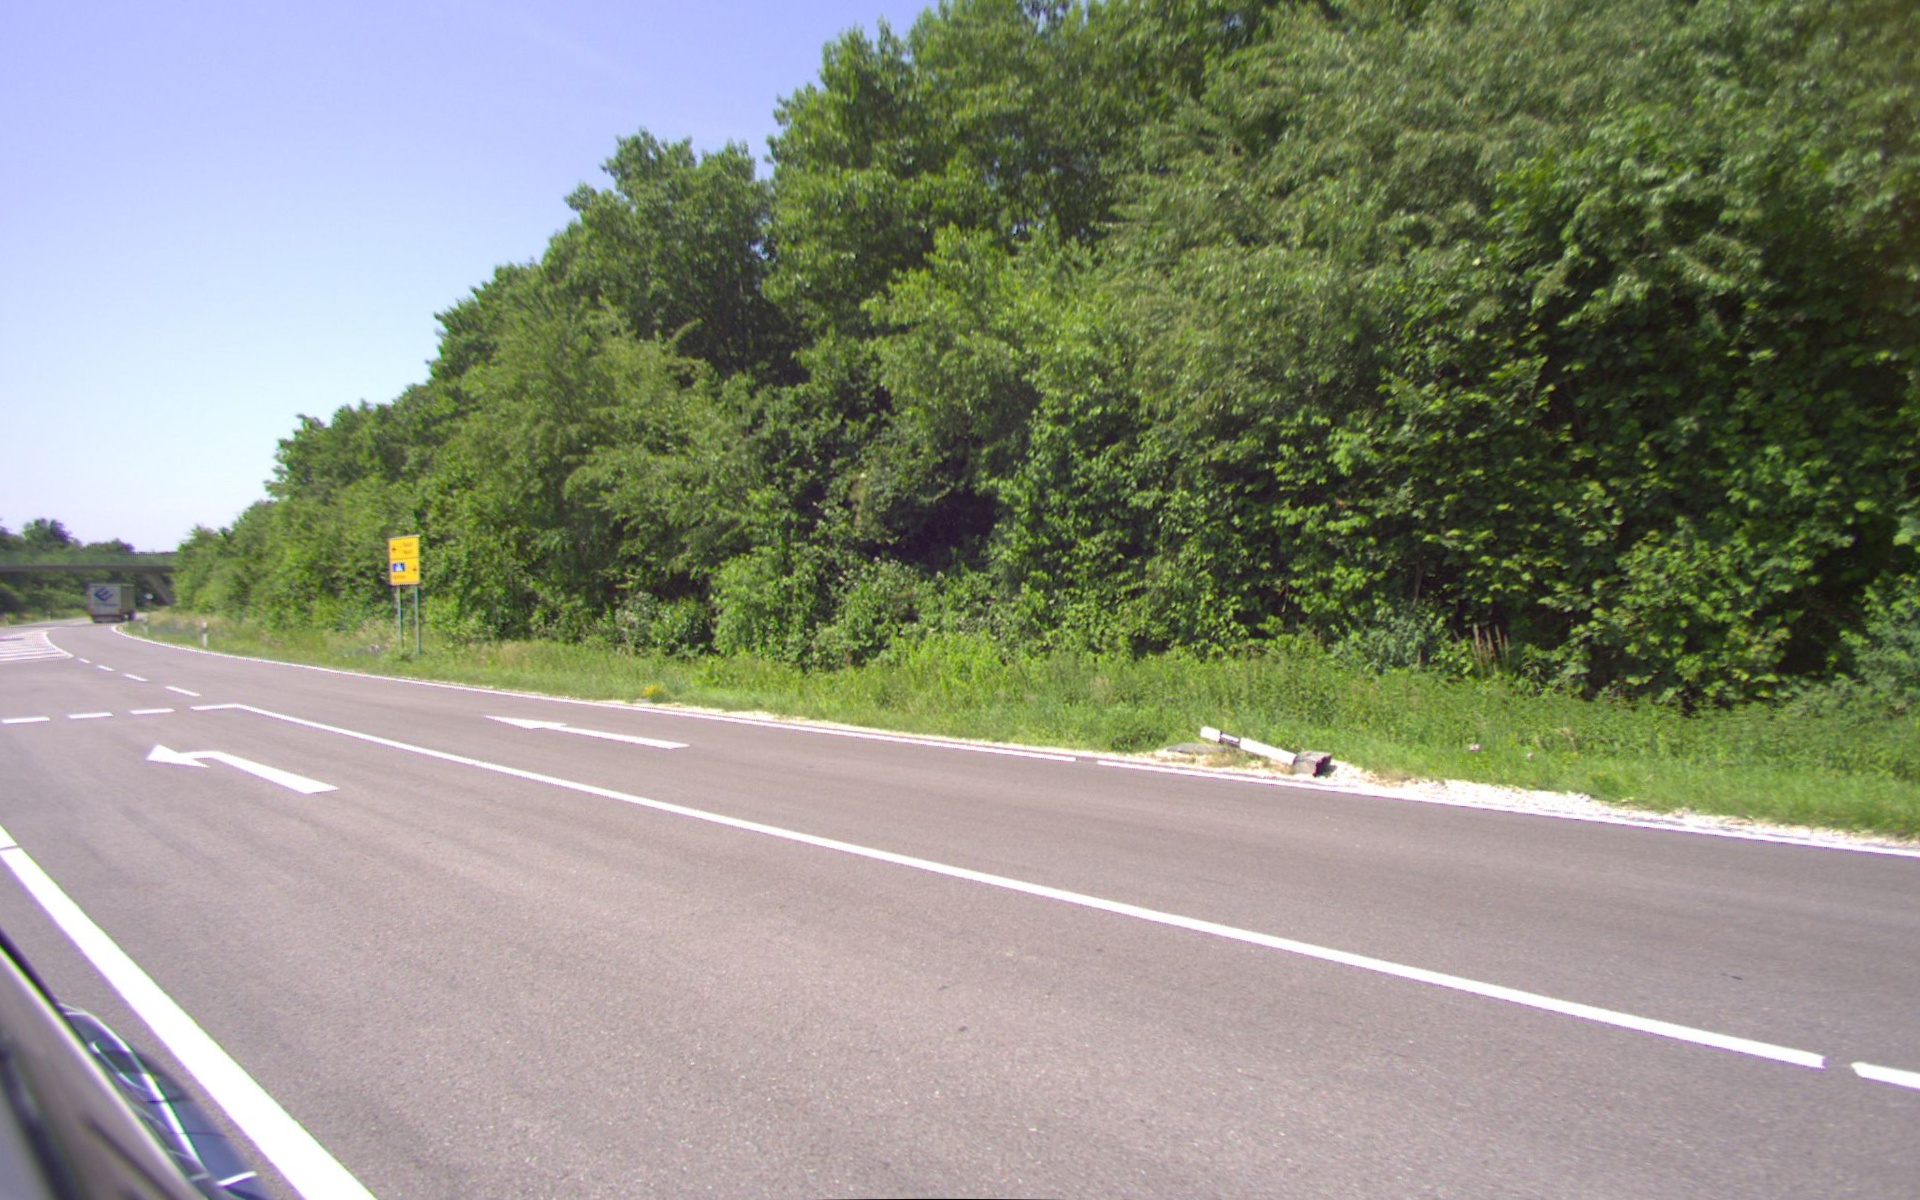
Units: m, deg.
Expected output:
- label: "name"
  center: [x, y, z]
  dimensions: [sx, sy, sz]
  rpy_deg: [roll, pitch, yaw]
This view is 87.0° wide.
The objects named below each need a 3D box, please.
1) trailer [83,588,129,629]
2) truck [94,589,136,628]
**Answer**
- label: "trailer"
  center: [-89.660, 0.877, 106.362]
  dimensions: [2.790, 4.127, 9.023]
  rpy_deg: [-1, 0, -35]
- label: "truck"
  center: [-94.720, 0.958, 113.549]
  dimensions: [2.761, 4.127, 11.090]
  rpy_deg: [-1, 0, -35]
